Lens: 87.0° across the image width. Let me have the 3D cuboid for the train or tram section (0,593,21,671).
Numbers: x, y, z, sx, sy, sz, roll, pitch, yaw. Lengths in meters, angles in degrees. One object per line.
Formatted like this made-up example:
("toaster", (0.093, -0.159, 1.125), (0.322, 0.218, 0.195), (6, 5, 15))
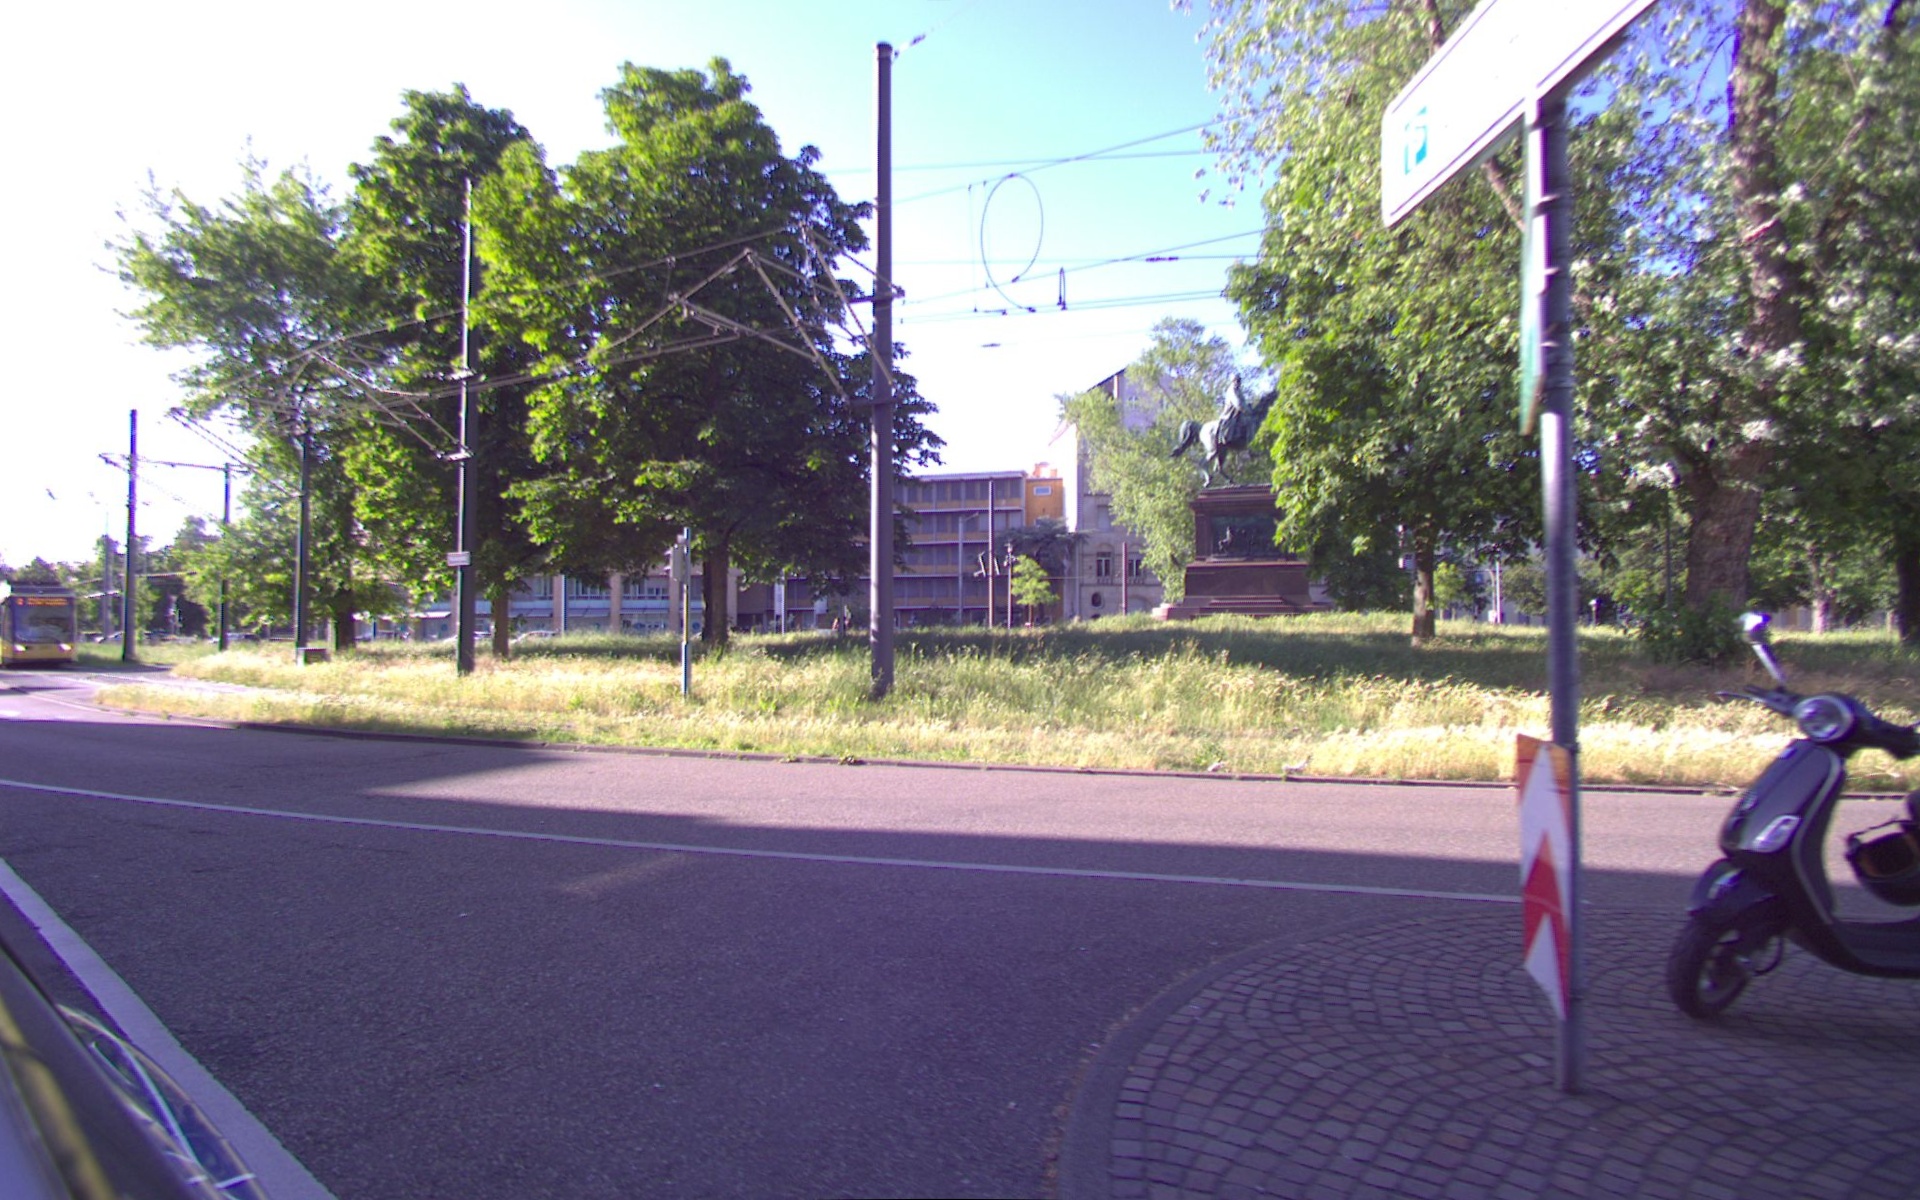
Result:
("train or tram section", (-50.653, 1.676, 50.766), (13.611, 3.640, 2.922), (-2, -2, 37))

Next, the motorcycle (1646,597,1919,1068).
("motorcycle", (3.336, 0.680, 3.210), (1.746, 1.384, 0.744), (-1, 0, 17))

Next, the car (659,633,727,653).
("car", (-20.509, 3.290, 77.859), (4.710, 1.364, 1.996), (-2, -1, 6))

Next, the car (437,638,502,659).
("car", (-39.597, 3.919, 81.746), (4.612, 1.608, 1.991), (-1, 0, 15))

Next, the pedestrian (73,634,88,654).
("pedestrian", (-93.914, 4.681, 108.050), (0.917, 2.029, 0.874), (-1, 0, 17))

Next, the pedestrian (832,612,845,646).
("pedestrian", (-5.961, 1.431, 49.652), (0.546, 1.628, 0.677), (0, 0, -12))

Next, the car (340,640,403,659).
("car", (-54.692, 4.576, 94.049), (5.163, 1.681, 2.114), (-1, 0, 16))

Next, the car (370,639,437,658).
("car", (-45.912, 3.990, 83.525), (4.979, 1.458, 1.988), (-1, 0, 19))

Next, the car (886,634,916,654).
("car", (-5.312, 3.925, 90.804), (1.966, 1.593, 4.011), (-1, 0, -14))

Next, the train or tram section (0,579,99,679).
("train or tram section", (-40.216, 1.300, 42.919), (13.162, 3.713, 2.922), (-2, -2, 37))

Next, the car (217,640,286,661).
("car", (-61.349, 4.373, 87.648), (5.037, 1.747, 2.097), (-1, -2, 14))
